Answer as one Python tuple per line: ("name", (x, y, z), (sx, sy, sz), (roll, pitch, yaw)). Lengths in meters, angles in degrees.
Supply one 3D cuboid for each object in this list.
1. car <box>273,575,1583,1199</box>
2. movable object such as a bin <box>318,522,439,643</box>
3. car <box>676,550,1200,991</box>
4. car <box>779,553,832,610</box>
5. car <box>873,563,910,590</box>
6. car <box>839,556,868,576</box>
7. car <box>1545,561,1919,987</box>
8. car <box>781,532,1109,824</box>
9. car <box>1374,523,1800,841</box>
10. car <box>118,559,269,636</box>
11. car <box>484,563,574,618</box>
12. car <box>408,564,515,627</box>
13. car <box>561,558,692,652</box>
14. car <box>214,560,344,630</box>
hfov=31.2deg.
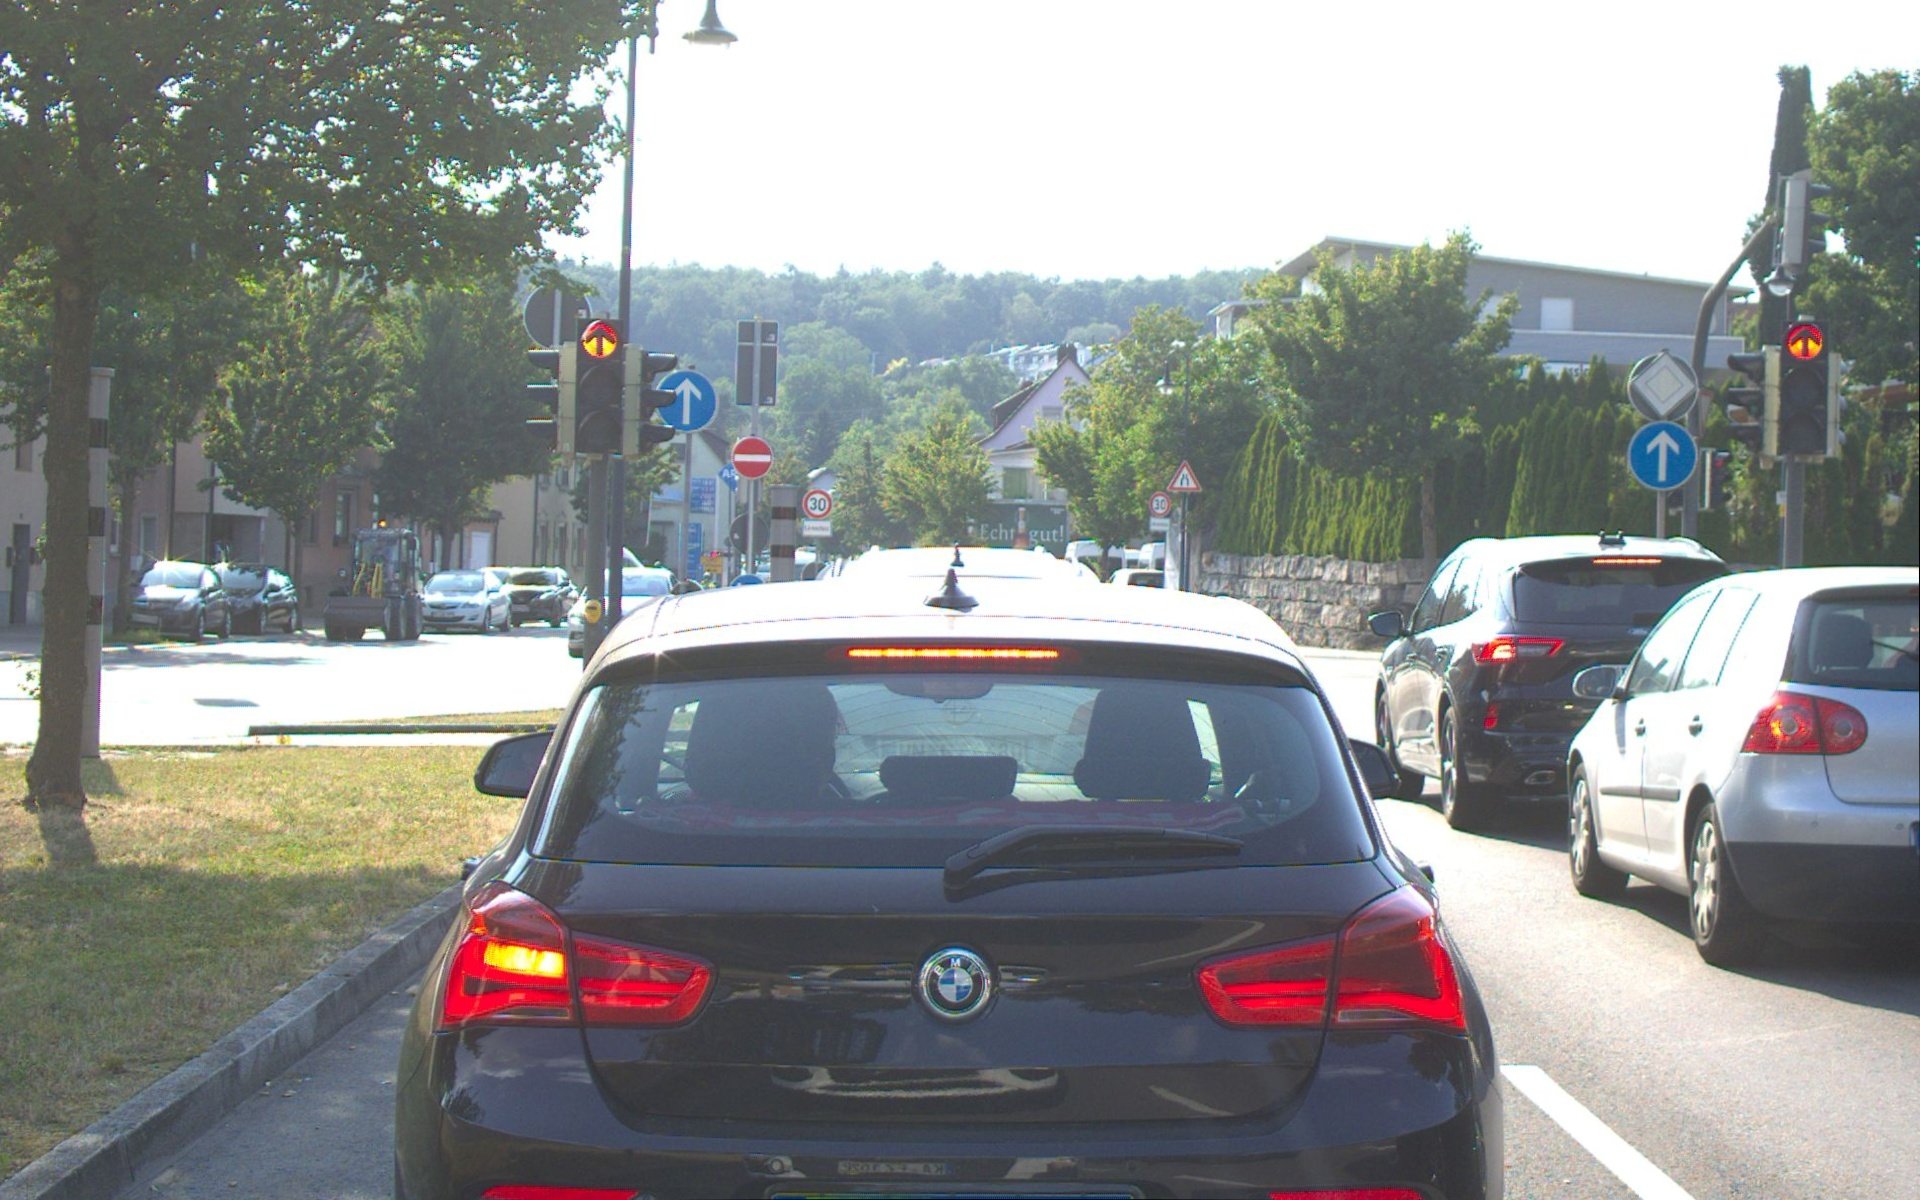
("car", (-0.037, 0.678, 6.861), (1.788, 1.393, 4.281), (-1, 1, 0))
("movable object such as a bin", (-12.066, -0.376, 71.533), (1.736, 2.433, 4.450), (0, 1, 0))
("car", (-0.072, 0.558, 14.007), (1.788, 1.488, 4.281), (-1, 1, 0))
("car", (-6.725, -0.826, 150.241), (2.084, 2.385, 5.529), (1, 1, 0))
("car", (-3.792, -1.307, 191.694), (1.737, 1.296, 3.799), (5, 1, 2))
("car", (-7.768, -2.507, 251.333), (1.737, 1.296, 3.799), (5, 1, 2))
("car", (3.557, 0.575, 13.744), (1.761, 1.421, 3.903), (-1, 1, 0))
("car", (-0.078, 0.392, 21.046), (1.788, 1.588, 4.281), (-1, 1, 0))
("car", (3.530, 0.396, 20.026), (1.761, 1.650, 3.903), (-1, 1, 0))
("car", (-14.932, -0.065, 67.156), (1.737, 1.296, 4.000), (5, 1, 3))
("car", (-11.698, -0.272, 93.485), (1.737, 1.296, 3.799), (5, 1, 2))
("car", (-11.787, -0.125, 81.455), (1.737, 1.296, 3.799), (5, 1, 2))
("car", (-5.555, 0.057, 57.713), (1.839, 1.477, 4.000), (1, 1, -1))
("car", (-14.509, -0.123, 73.432), (1.737, 1.296, 4.000), (5, 1, 2))
